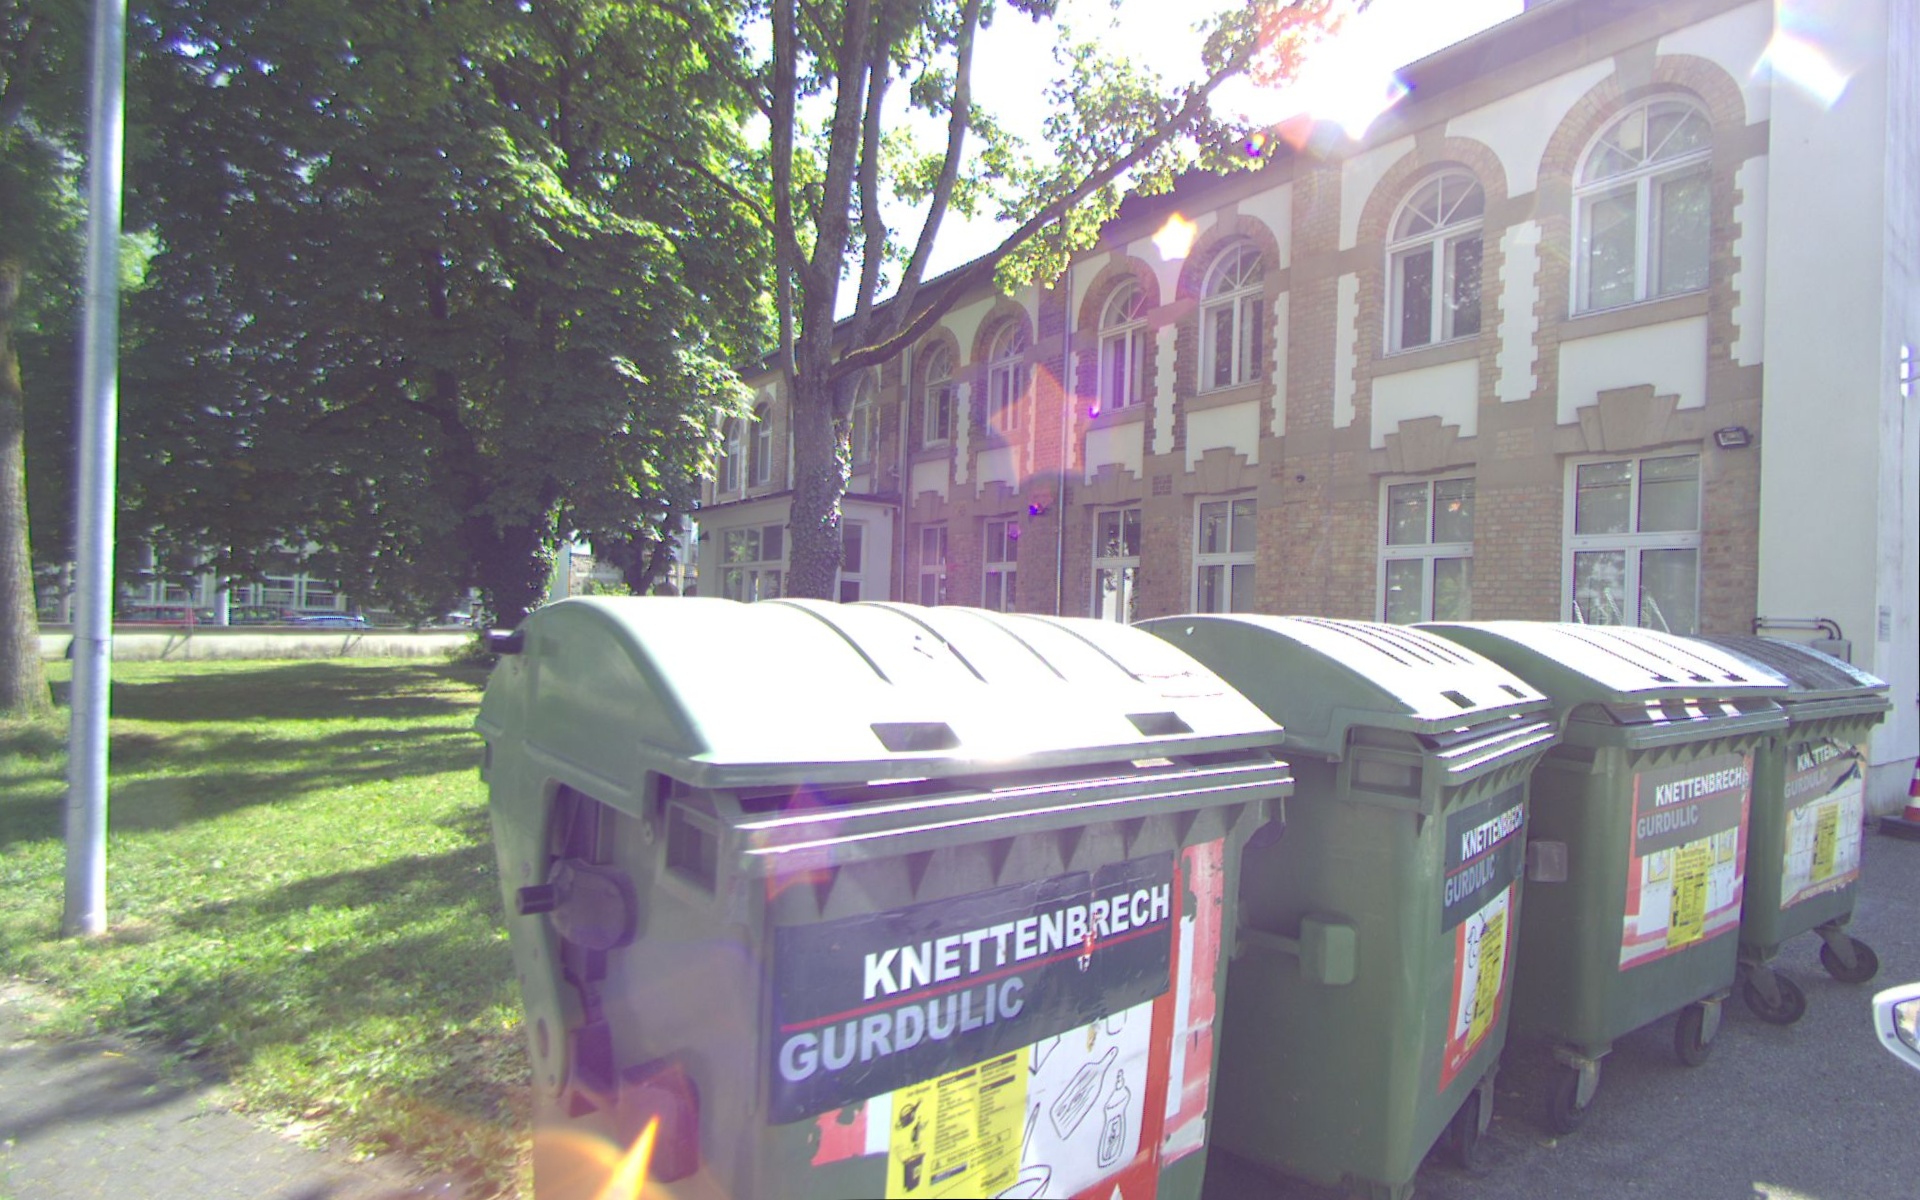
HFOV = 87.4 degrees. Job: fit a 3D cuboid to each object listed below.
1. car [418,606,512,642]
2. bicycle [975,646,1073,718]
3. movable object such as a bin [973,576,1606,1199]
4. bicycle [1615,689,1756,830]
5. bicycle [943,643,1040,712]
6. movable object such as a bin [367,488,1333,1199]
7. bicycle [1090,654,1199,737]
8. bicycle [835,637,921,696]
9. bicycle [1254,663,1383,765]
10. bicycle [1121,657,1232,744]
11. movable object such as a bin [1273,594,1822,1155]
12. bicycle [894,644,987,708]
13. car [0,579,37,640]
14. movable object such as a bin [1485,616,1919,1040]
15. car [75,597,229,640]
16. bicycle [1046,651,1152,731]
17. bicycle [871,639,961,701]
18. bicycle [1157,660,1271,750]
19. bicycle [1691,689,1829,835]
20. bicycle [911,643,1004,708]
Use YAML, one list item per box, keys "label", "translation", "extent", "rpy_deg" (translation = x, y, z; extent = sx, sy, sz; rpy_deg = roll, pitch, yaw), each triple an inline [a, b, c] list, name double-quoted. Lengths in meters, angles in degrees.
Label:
- label: "car"
  translation: [-24.836, 1.197, 50.528]
  extent: [3.935, 1.684, 1.823]
  rpy_deg: [2, -1, -17]
- label: "bicycle"
  translation: [0.971, 1.191, 14.919]
  extent: [1.526, 1.005, 0.441]
  rpy_deg: [2, -2, -37]
- label: "movable object such as a bin"
  translation: [0.911, 0.697, 2.731]
  extent: [1.230, 1.450, 1.217]
  rpy_deg: [1, -1, 42]
- label: "bicycle"
  translation: [6.032, 1.274, 8.320]
  extent: [1.614, 1.005, 0.441]
  rpy_deg: [2, -2, -35]
- label: "bicycle"
  translation: [0.494, 1.173, 15.397]
  extent: [1.525, 1.005, 0.441]
  rpy_deg: [2, -2, -35]
- label: "movable object such as a bin"
  translation: [-0.209, 0.662, 1.901]
  extent: [1.329, 1.501, 1.233]
  rpy_deg: [3, -1, -42]
- label: "bicycle"
  translation: [2.407, 1.215, 13.045]
  extent: [1.525, 1.005, 0.441]
  rpy_deg: [2, -2, -35]
- label: "bicycle"
  translation: [-1.465, 1.209, 18.155]
  extent: [1.528, 1.005, 0.441]
  rpy_deg: [3, -1, -39]
- label: "bicycle"
  translation: [3.918, 1.208, 10.923]
  extent: [1.649, 1.005, 0.441]
  rpy_deg: [2, -2, -35]
- label: "bicycle"
  translation: [2.732, 1.232, 12.604]
  extent: [1.525, 1.005, 0.441]
  rpy_deg: [2, -2, -35]
- label: "movable object such as a bin"
  translation: [2.039, 0.735, 3.516]
  extent: [1.354, 1.450, 1.235]
  rpy_deg: [3, -1, -38]
- label: "bicycle"
  translation: [-0.314, 1.240, 16.610]
  extent: [1.584, 1.002, 0.371]
  rpy_deg: [2, -1, -35]
- label: "car"
  translation: [-32.827, 0.287, 32.469]
  extent: [3.940, 1.932, 1.779]
  rpy_deg: [1, -1, -21]
- label: "movable object such as a bin"
  translation: [3.250, 0.823, 4.394]
  extent: [1.338, 1.450, 1.235]
  rpy_deg: [3, -1, -38]
- label: "car"
  translation: [-30.597, 0.722, 38.186]
  extent: [4.157, 1.559, 1.774]
  rpy_deg: [1, -1, -21]
- label: "bicycle"
  translation: [1.901, 1.205, 13.593]
  extent: [1.525, 1.005, 0.441]
  rpy_deg: [2, -2, -35]
- label: "bicycle"
  translation: [-0.732, 1.166, 17.072]
  extent: [1.525, 1.005, 0.441]
  rpy_deg: [2, -2, -35]
- label: "bicycle"
  translation: [3.085, 1.241, 12.124]
  extent: [1.525, 1.005, 0.441]
  rpy_deg: [2, -2, -35]
- label: "bicycle"
  translation: [6.360, 1.238, 7.965]
  extent: [1.525, 1.005, 0.441]
  rpy_deg: [2, -2, -35]
- label: "bicycle"
  translation: [-0.027, 1.201, 16.227]
  extent: [1.525, 1.005, 0.441]
  rpy_deg: [2, -2, -35]
